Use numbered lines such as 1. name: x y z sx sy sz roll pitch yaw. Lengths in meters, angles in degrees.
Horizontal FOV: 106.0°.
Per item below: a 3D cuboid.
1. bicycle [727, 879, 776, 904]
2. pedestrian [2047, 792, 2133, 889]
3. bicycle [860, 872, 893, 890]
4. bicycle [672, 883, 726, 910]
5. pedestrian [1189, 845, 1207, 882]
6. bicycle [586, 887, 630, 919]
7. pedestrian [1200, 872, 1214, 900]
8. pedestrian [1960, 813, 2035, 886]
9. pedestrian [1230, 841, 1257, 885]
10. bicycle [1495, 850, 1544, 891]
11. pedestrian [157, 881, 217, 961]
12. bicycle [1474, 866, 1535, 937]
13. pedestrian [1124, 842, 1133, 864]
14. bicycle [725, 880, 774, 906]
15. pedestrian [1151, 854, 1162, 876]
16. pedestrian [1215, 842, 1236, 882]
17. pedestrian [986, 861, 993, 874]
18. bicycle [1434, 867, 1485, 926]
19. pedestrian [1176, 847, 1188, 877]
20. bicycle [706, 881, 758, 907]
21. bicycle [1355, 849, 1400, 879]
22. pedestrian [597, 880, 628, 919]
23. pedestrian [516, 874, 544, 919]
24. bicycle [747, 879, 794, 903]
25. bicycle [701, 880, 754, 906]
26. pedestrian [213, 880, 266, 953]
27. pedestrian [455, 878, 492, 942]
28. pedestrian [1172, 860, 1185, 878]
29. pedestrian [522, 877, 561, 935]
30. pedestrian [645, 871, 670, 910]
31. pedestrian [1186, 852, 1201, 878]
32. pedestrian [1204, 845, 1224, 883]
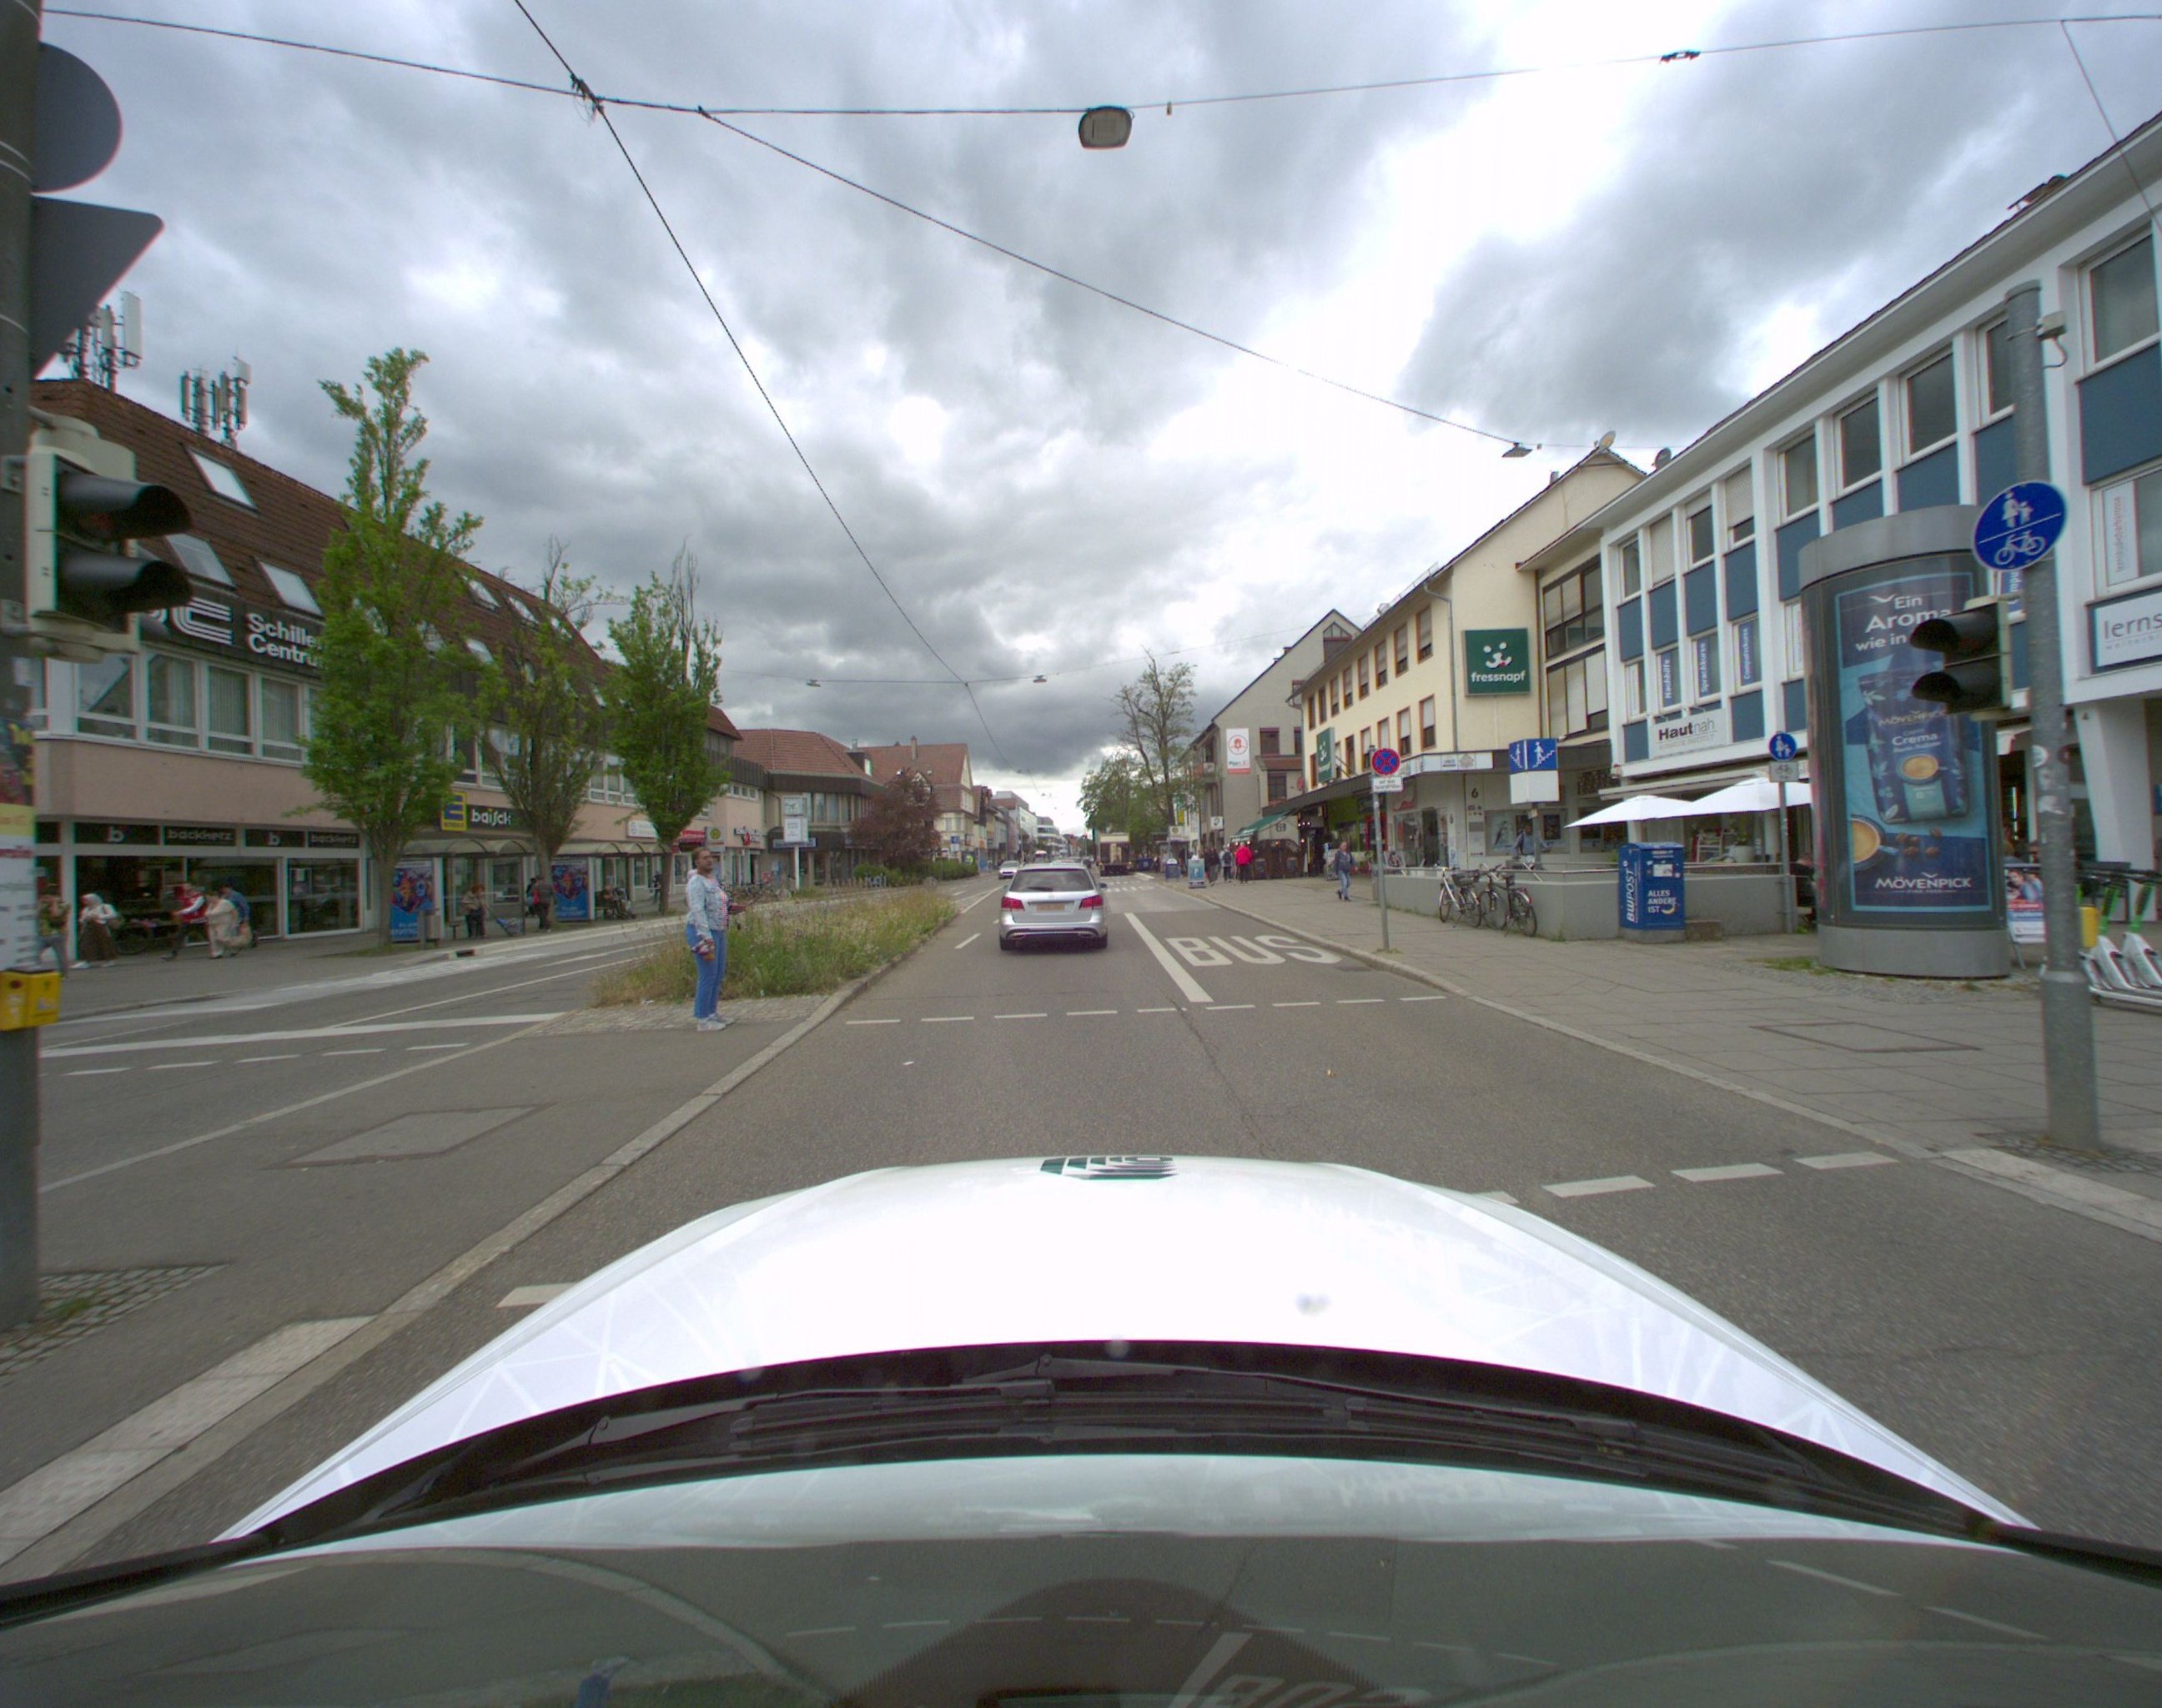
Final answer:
1. bicycle: -15.791 1.802 39.052 2.017 1.090 0.647 -2 -1 -10
2. pedestrian: 15.691 -0.203 12.677 0.611 1.460 0.588 1 0 -1
3. bicycle: -13.399 1.782 53.412 2.017 1.090 0.647 -2 -1 -10
4. bicycle: -16.475 1.822 35.166 2.020 1.090 0.646 -1 -1 -14
5. pedestrian: 5.222 0.416 36.435 0.611 1.634 0.614 -3 -1 -2
6. bicycle: -17.466 1.799 30.122 0.532 1.090 1.929 -1 -1 -2
7. pedestrian: 7.148 1.807 46.175 0.666 1.567 0.494 0 1 20
8. pedestrian: 15.628 -0.074 13.896 0.611 1.220 0.588 1 0 -1
9. pedestrian: 6.683 0.364 33.478 0.794 1.742 0.780 -4 -2 -5
10. bicycle: 10.939 0.395 20.350 0.273 0.974 1.383 -2 0 -8
11. pedestrian: -19.723 1.468 17.979 0.584 1.712 0.614 1 0 -2
12. bicycle: 6.844 0.739 13.219 0.272 1.053 1.388 -2 0 2
13. pedestrian: 3.822 -0.102 66.163 0.611 1.780 0.587 -2 -2 -3
14. bicycle: -15.617 1.824 38.358 2.017 1.090 0.647 -2 -1 -10
15. pedestrian: 5.619 0.790 60.565 0.537 1.634 0.583 1 0 -24
16. pedestrian: 6.639 0.379 37.445 0.681 1.742 0.780 -4 -2 -5
17. pedestrian: -11.738 1.737 104.463 0.815 1.634 0.978 0 -1 -5
18. bicycle: 6.813 0.747 14.711 0.272 0.974 1.388 -2 0 2
19. pedestrian: 7.077 0.550 56.974 0.608 2.047 0.590 -4 -1 13
20. bicycle: -15.901 1.798 37.150 2.017 1.090 0.647 -2 -1 -10
21. bicycle: 10.997 0.359 30.278 0.739 1.062 2.350 -3 0 -1
22. pedestrian: -16.661 1.615 28.955 0.709 1.364 0.588 -1 0 2
23. pedestrian: -20.577 1.568 30.407 0.584 1.634 0.614 1 0 -2
24. bicycle: -15.224 1.808 39.944 2.017 1.090 0.647 -2 -1 -10
25. bicycle: -15.674 1.722 36.097 2.014 1.090 0.648 -2 -1 -5
26. pedestrian: -20.259 1.492 19.618 0.584 1.712 0.614 1 0 -2
27. pedestrian: -16.459 1.498 22.081 0.587 1.652 0.709 -1 0 -18
28. pedestrian: 6.532 1.015 54.412 0.711 1.166 0.587 -1 0 -6
29. pedestrian: -15.789 1.505 23.862 0.582 1.652 0.716 -1 0 10
30. pedestrian: -19.700 1.697 37.882 0.724 1.764 0.755 1 0 -2
31. pedestrian: 7.180 0.694 51.814 0.615 1.634 0.788 -2 0 -21
32. pedestrian: 5.934 0.453 36.446 0.717 1.634 0.614 -3 -1 -3
